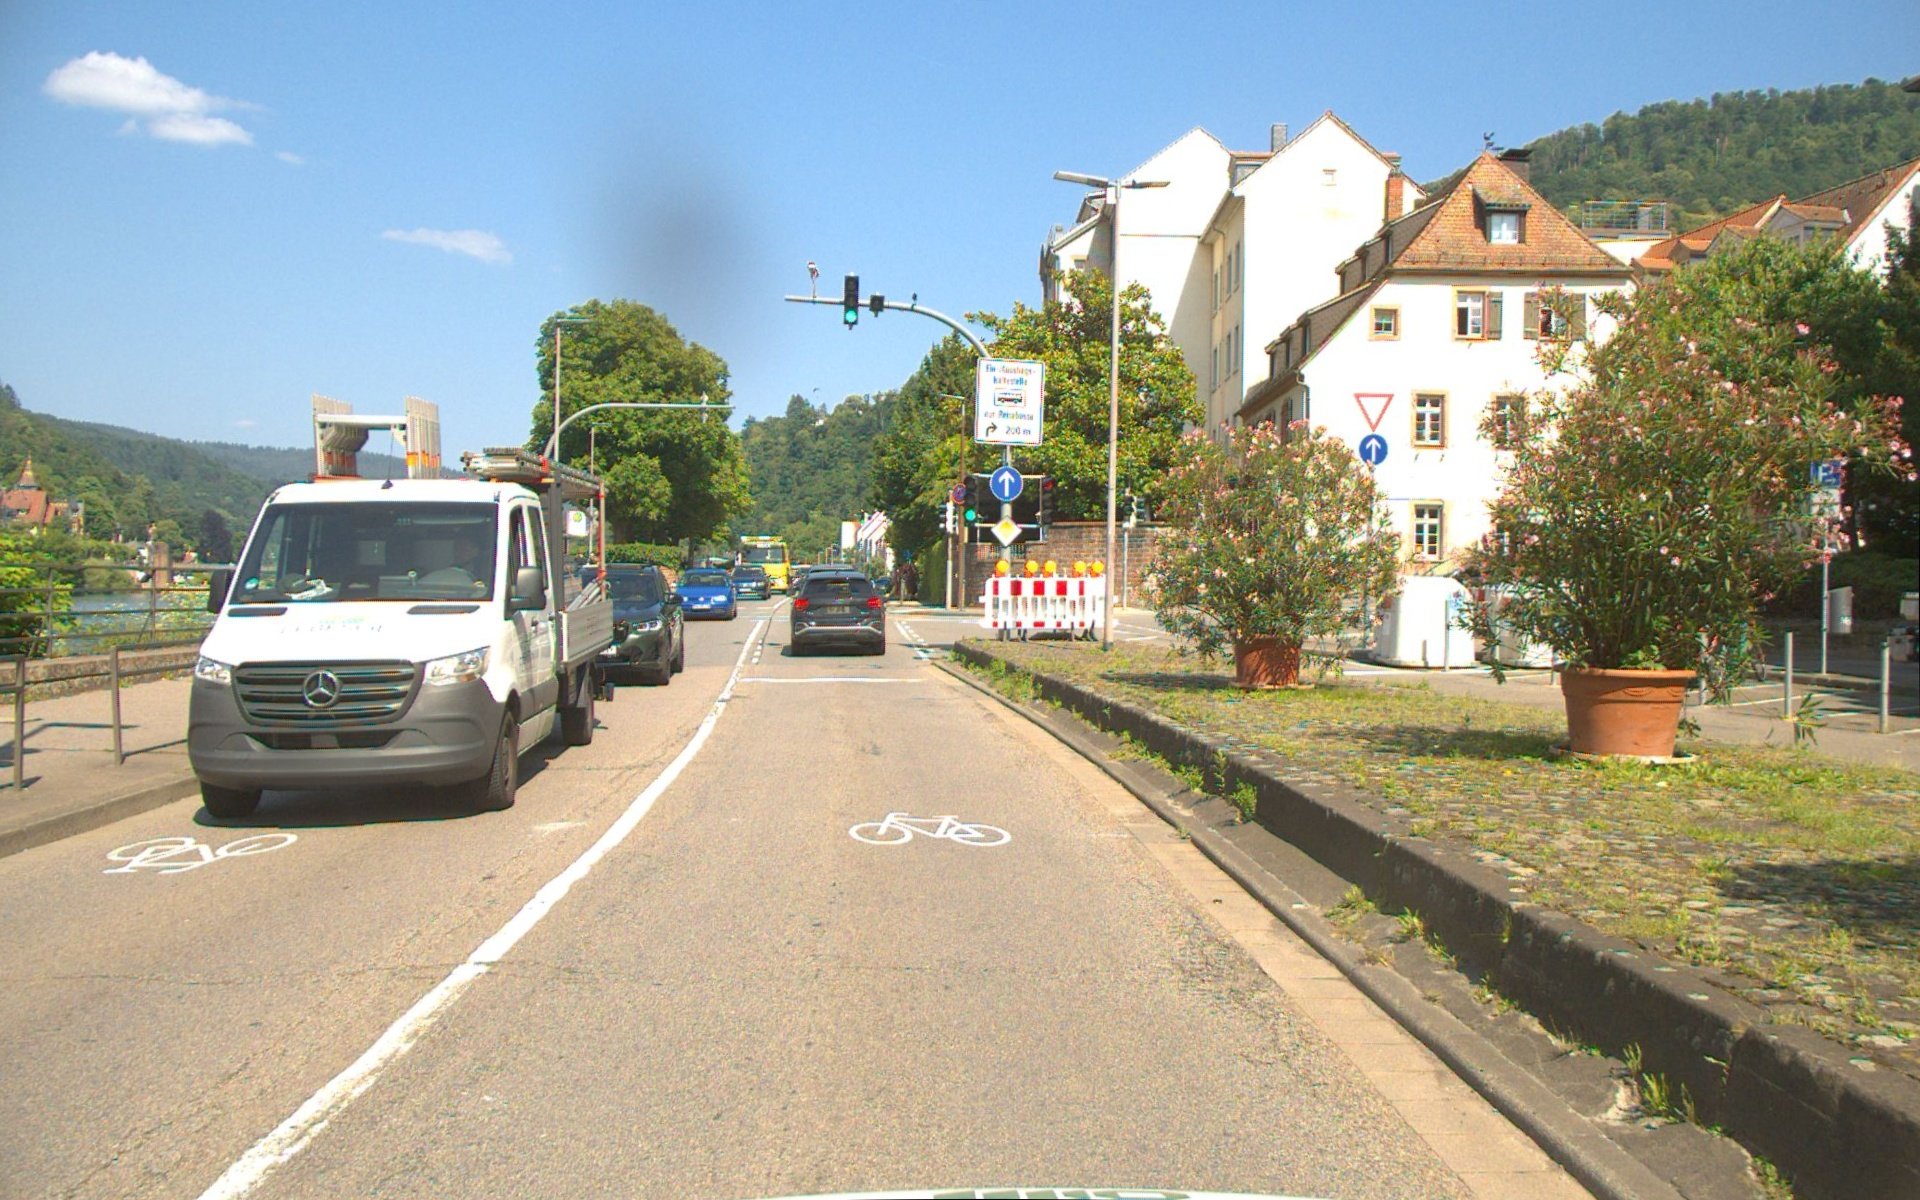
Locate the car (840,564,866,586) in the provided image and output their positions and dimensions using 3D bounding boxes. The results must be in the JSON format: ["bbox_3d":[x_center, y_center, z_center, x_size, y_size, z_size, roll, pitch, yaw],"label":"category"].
[{"bbox_3d":[-7.513,-1.755,116.244,1.759,1.507,3.997,1,1,-4],"label":"car"}]

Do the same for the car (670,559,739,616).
[{"bbox_3d":[-7.307,-0.391,47.537,1.774,1.534,3.995,1,1,-7],"label":"car"}]

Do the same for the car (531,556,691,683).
[{"bbox_3d":[-5.091,0.227,24.669,1.827,1.710,4.449,-1,1,-6],"label":"car"}]

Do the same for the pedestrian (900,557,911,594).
[{"bbox_3d":[-2.455,-1.116,74.316,0.446,1.634,0.579,1,0,-4],"label":"pedestrian"}]

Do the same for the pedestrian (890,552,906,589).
[{"bbox_3d":[-2.844,-1.365,76.333,0.720,1.662,0.920,0,1,-4],"label":"pedestrian"}]

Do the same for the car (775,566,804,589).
[{"bbox_3d":[-11.300,-1.519,109.927,1.779,1.422,4.344,0,2,-4],"label":"car"}]

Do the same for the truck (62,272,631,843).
[{"bbox_3d":[-4.376,-0.334,13.620,2.330,3.318,7.604,-2,1,-5],"label":"truck"}]

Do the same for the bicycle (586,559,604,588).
[{"bbox_3d":[-14.484,-1.039,65.629,0.655,1.132,2.027,-1,1,-13],"label":"bicycle"}]

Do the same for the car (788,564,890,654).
[{"bbox_3d":[-2.295,0.118,31.569,1.820,1.550,3.997,0,2,-4],"label":"car"}]

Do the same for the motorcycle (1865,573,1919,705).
[{"bbox_3d":[12.273,0.486,20.449,2.473,1.560,1.039,2,-1,-39],"label":"motorcycle"}]

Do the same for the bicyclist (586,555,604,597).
[{"bbox_3d":[-14.489,-0.949,65.628,0.655,1.660,0.976,-1,1,-14],"label":"bicyclist"}]

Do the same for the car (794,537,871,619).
[{"bbox_3d":[-3.441,-0.536,44.097,1.955,2.049,3.995,0,-1,-6],"label":"car"}]

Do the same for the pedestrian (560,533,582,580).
[{"bbox_3d":[-16.392,-1.841,69.749,0.738,1.951,1.008,0,-1,-3],"label":"pedestrian"}]

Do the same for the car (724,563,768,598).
[{"bbox_3d":[-9.224,-0.857,71.506,1.774,1.430,4.352,0,1,-6],"label":"car"}]

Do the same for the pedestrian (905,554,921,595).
[{"bbox_3d":[-2.071,-1.138,72.999,0.667,1.773,0.912,1,0,-4],"label":"pedestrian"}]

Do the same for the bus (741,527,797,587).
[{"bbox_3d":[-9.812,-2.220,85.504,2.546,2.947,8.440,0,1,-4],"label":"bus"}]

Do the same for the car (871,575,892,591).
[{"bbox_3d":[-7.522,-1.601,158.621,1.954,1.478,4.006,0,-1,-3],"label":"car"}]

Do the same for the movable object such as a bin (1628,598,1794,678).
[{"bbox_3d":[11.506,0.545,25.272,2.930,1.129,1.239,0,1,-42],"label":"movable object such as a bin"}]
